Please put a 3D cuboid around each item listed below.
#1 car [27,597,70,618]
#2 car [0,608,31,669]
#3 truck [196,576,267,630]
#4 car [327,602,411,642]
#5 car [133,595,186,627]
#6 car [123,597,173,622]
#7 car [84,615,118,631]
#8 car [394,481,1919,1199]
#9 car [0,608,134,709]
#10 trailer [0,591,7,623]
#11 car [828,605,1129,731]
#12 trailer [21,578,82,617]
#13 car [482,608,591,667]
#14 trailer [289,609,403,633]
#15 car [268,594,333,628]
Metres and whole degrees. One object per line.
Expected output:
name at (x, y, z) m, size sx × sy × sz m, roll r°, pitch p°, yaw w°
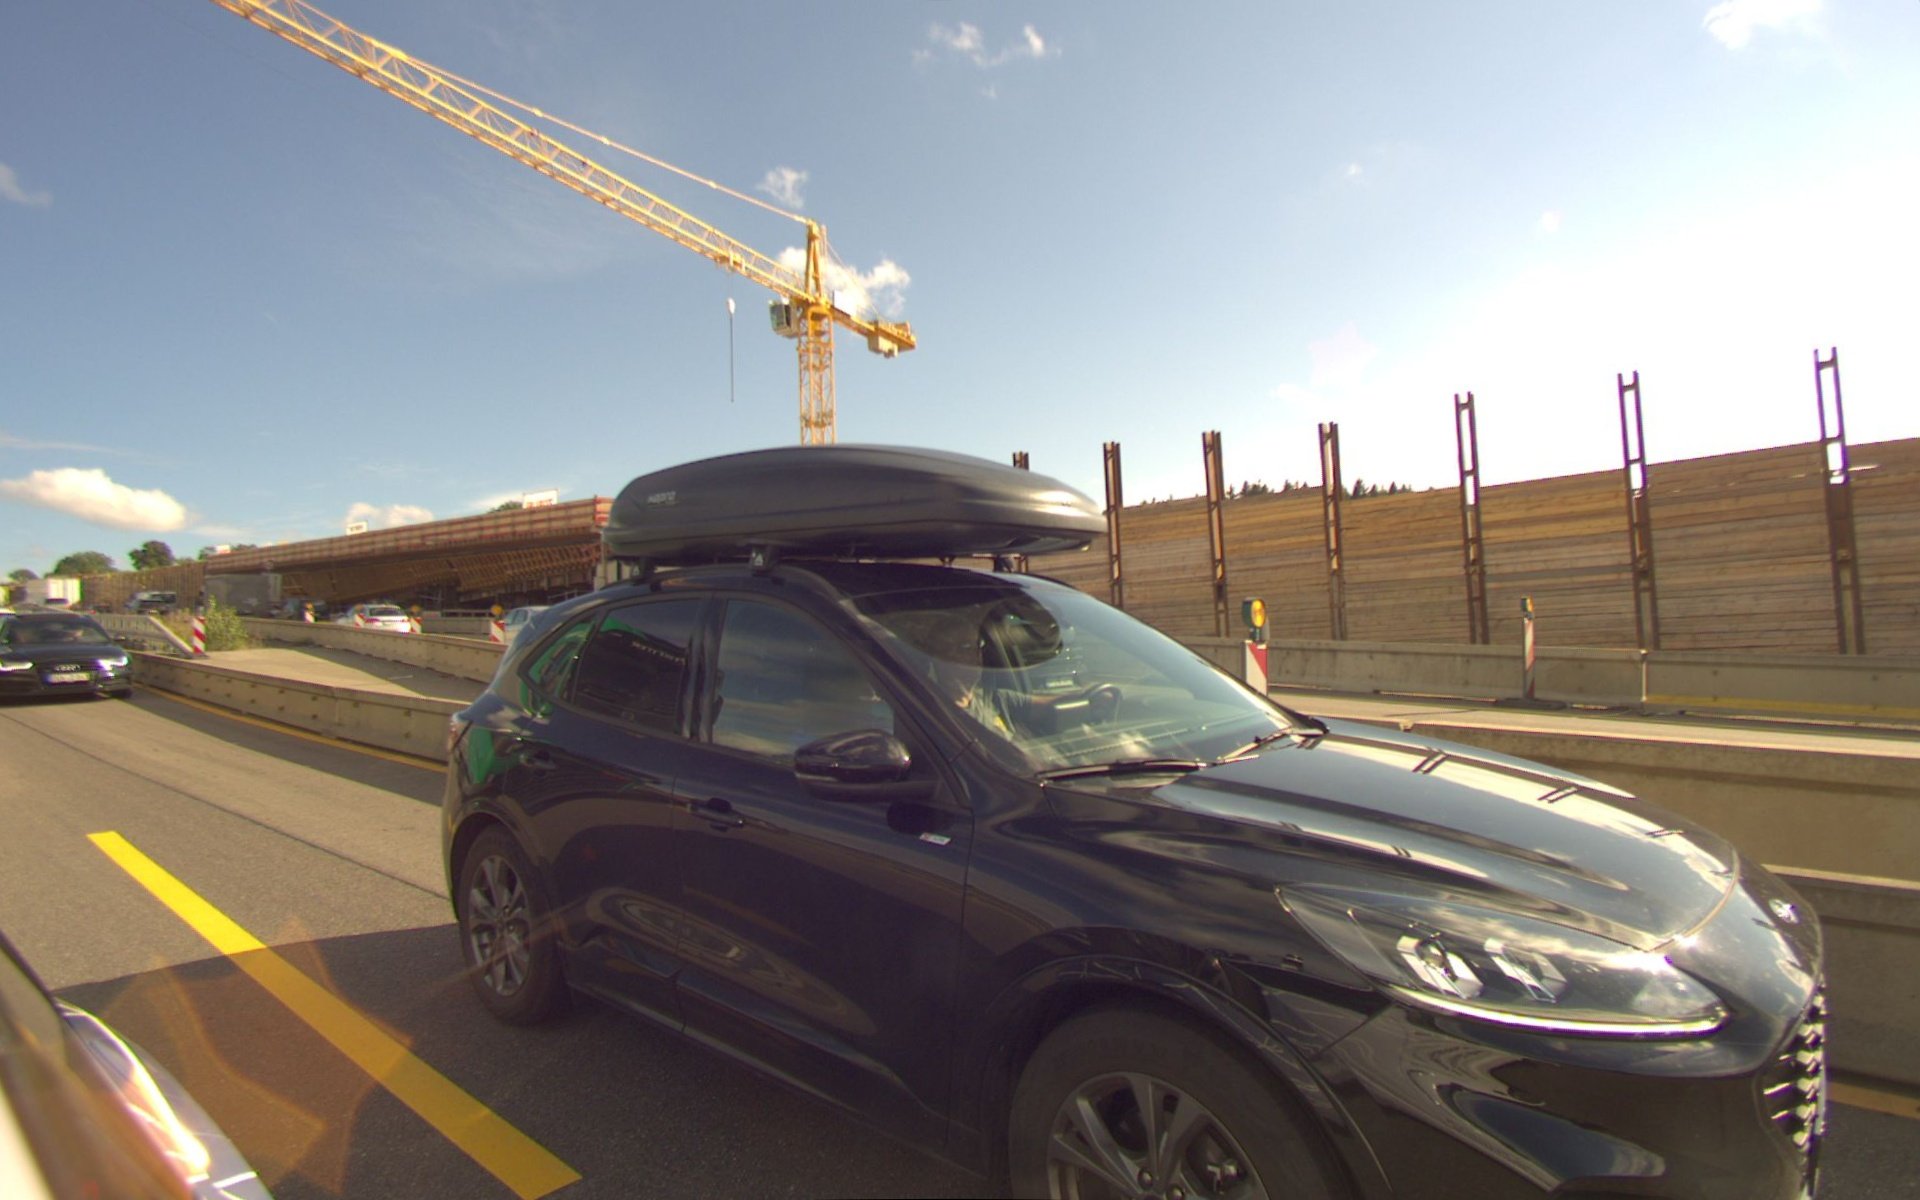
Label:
car at (-79.887, 0.694, 88.699) m, size 5.026 × 1.779 × 2.104 m, roll -1°, pitch 0°, yaw 40°
car at (-27.967, 1.061, 28.787) m, size 4.560 × 1.576 × 1.783 m, roll 0°, pitch 1°, yaw 41°
truck at (-48.144, 0.142, 66.795) m, size 2.670 × 3.336 × 7.542 m, roll -1°, pitch 1°, yaw -45°
car at (-23.181, 0.858, 39.637) m, size 1.831 × 1.451 × 4.562 m, roll -1°, pitch 0°, yaw -44°
car at (-62.430, 0.803, 78.882) m, size 5.865 × 2.420 × 2.235 m, roll 0°, pitch 1°, yaw 41°
car at (-55.229, 0.654, 68.804) m, size 4.746 × 1.648 × 1.833 m, roll -1°, pitch 0°, yaw 41°
car at (-77.656, 2.045, 91.462) m, size 4.000 × 1.282 × 1.899 m, roll 1°, pitch 1°, yaw 42°
car at (0.027, 0.680, 3.144) m, size 4.382 × 1.554 × 1.781 m, roll -1°, pitch -1°, yaw 41°
car at (-15.976, 0.918, 17.668) m, size 4.661 × 1.467 × 1.782 m, roll 1°, pitch 1°, yaw 43°
trailer at (-132.224, 0.897, 137.597) m, size 13.808 × 4.187 × 2.659 m, roll 1°, pitch 1°, yaw 42°
car at (0.066, 0.839, 14.317) m, size 1.797 × 1.451 × 4.624 m, roll -1°, pitch 0°, yaw -37°
trailer at (-94.997, -0.298, 105.762) m, size 13.792 × 3.870 × 2.792 m, roll 0°, pitch 1°, yaw 40°
car at (-11.645, 0.985, 27.699) m, size 1.732 × 1.451 × 3.811 m, roll -1°, pitch 0°, yaw -39°
trailer at (-31.329, 0.998, 51.380) m, size 10.330 × 0.947 × 2.326 m, roll 1°, pitch 1°, yaw 43°
car at (-36.751, 0.578, 56.354) m, size 4.444 × 1.817 × 1.972 m, roll 0°, pitch 1°, yaw 42°
